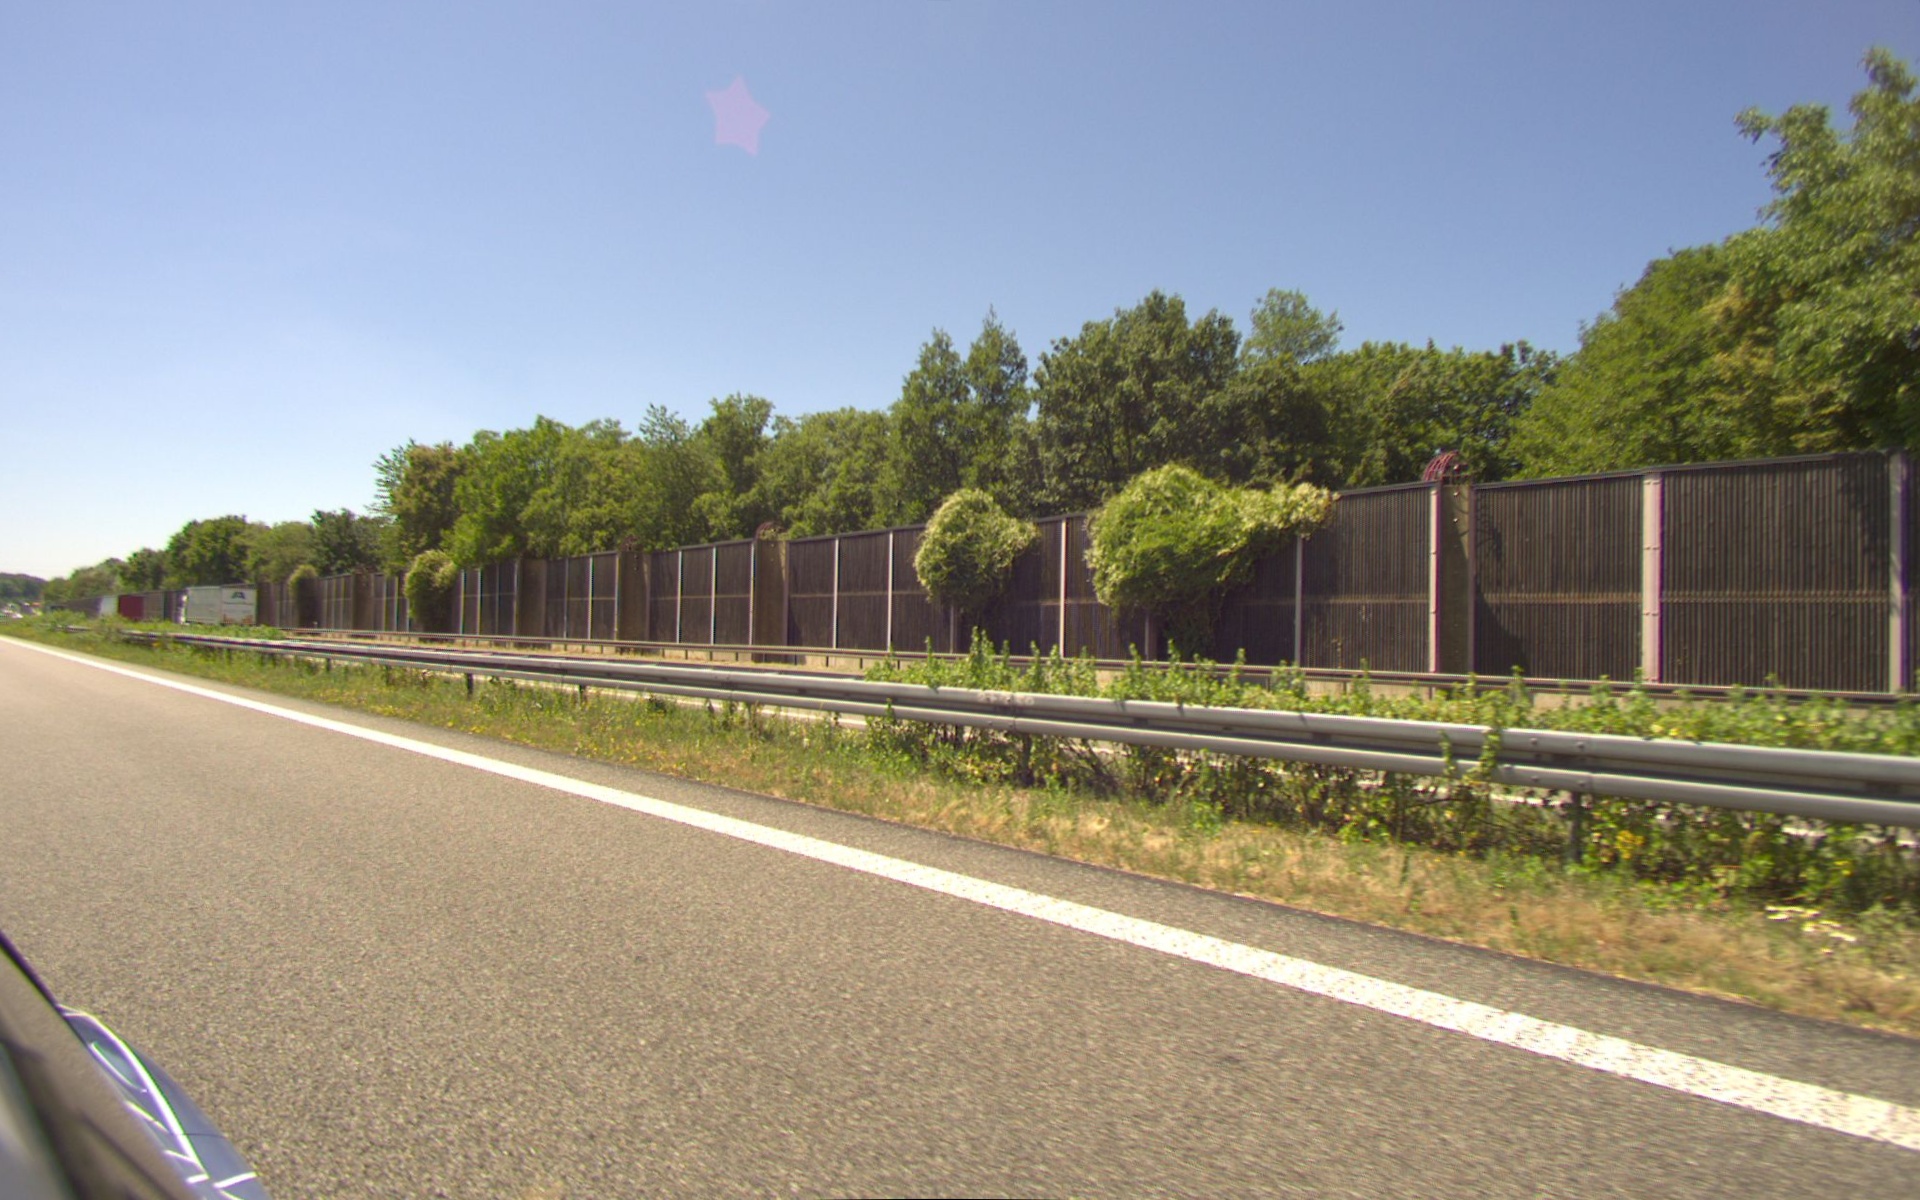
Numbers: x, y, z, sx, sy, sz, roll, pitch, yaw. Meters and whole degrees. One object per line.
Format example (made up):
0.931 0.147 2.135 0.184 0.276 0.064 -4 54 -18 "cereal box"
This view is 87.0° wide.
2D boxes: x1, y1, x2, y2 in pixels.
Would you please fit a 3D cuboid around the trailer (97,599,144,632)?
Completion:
-106.528 1.956 128.354 14.305 4.052 2.705 -1 -2 43 "trailer"

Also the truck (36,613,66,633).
-172.714 4.301 192.264 12.368 3.703 3.056 -1 -3 43 "truck"

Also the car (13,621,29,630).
-180.825 4.848 194.890 4.493 1.602 1.971 -1 -3 44 "car"

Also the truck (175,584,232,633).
-68.300 0.776 91.321 7.142 4.215 2.802 -1 -2 43 "truck"

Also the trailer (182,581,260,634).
-63.609 0.720 86.932 13.311 4.215 2.878 -1 -2 43 "trailer"
